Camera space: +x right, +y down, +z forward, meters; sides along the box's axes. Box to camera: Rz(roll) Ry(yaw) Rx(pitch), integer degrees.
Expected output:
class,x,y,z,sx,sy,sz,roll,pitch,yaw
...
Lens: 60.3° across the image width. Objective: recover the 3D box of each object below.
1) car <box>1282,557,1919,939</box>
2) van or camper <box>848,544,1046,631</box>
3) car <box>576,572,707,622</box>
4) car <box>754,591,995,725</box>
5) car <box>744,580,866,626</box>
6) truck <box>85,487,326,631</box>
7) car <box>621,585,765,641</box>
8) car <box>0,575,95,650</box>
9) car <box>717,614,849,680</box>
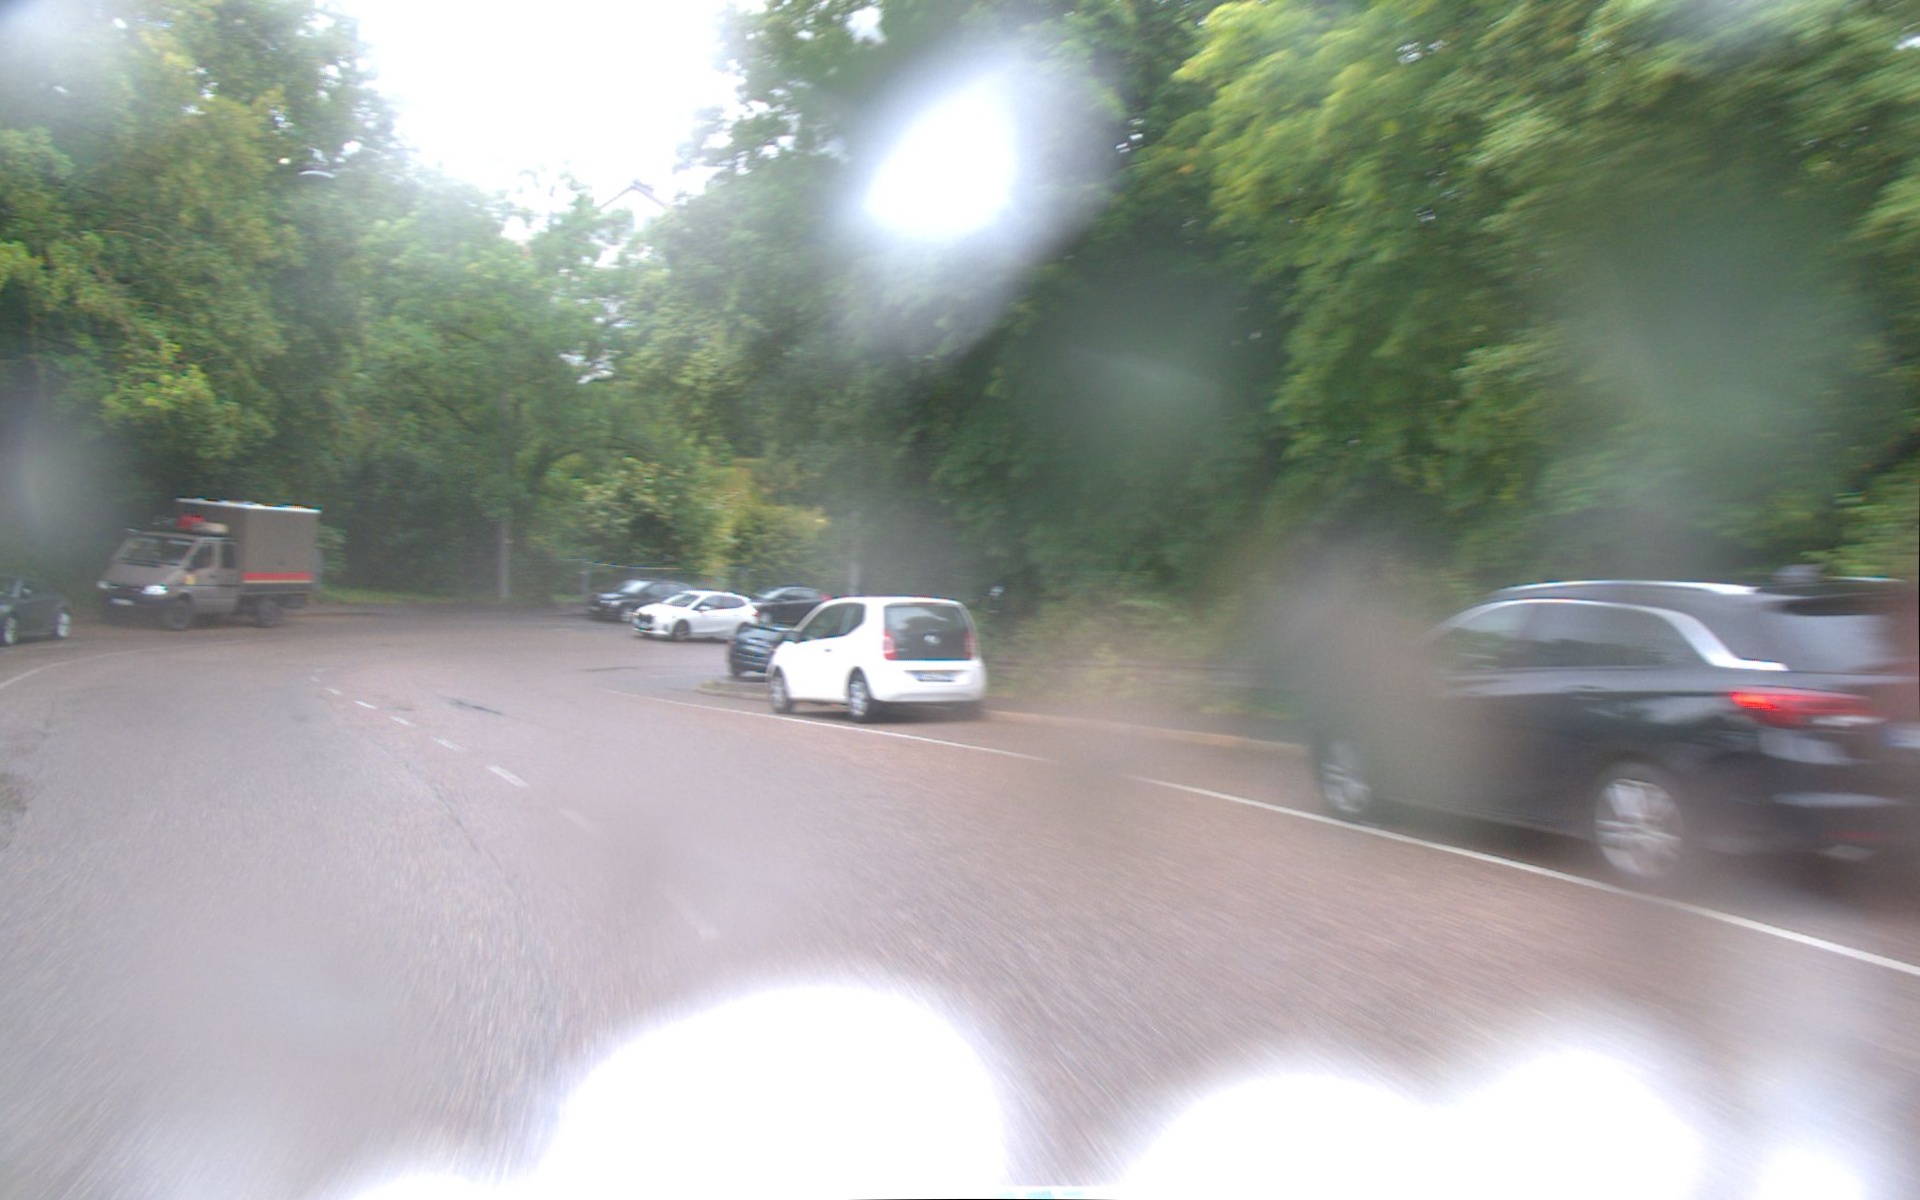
class,x,y,z,sx,sy,sz,roll,pitch,yaw
car,3.638,0.566,9.138,1.691,1.540,4.573,-1,1,-17
van or camper,-0.504,-0.481,66.293,7.535,2.981,2.187,3,5,-24
car,-11.216,-0.080,58.444,1.754,1.490,4.287,8,4,41
car,-1.159,0.687,20.797,1.568,1.528,3.631,2,-1,-29
car,-5.922,0.119,63.274,4.260,1.378,1.741,3,4,-34
truck,-18.610,-0.950,41.283,1.990,3.156,6.619,5,1,9
car,-8.579,0.440,53.377,1.773,1.597,4.428,3,0,42
car,-18.882,0.203,32.811,1.667,1.298,4.239,2,1,-8
car,-4.663,1.247,44.223,1.617,1.489,4.031,7,1,23
